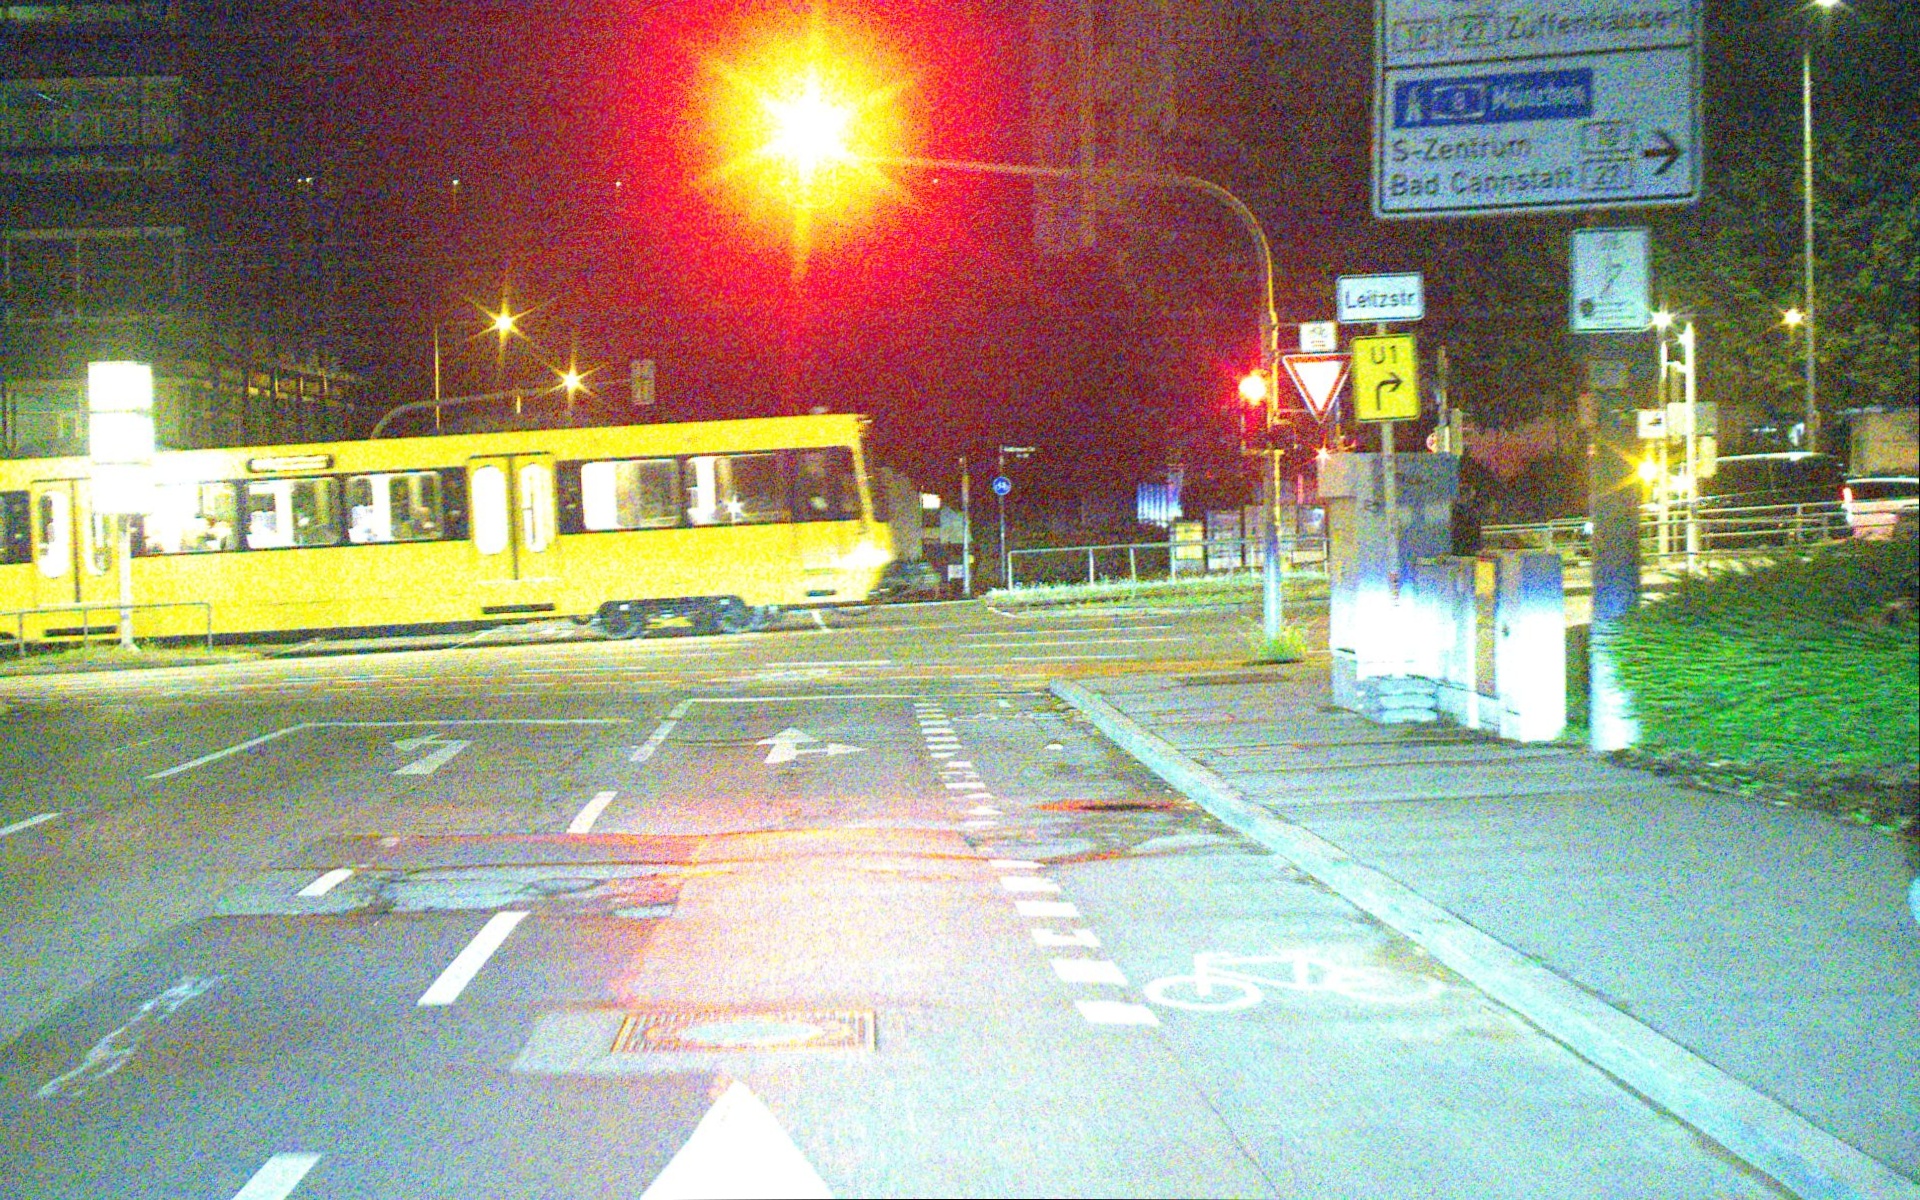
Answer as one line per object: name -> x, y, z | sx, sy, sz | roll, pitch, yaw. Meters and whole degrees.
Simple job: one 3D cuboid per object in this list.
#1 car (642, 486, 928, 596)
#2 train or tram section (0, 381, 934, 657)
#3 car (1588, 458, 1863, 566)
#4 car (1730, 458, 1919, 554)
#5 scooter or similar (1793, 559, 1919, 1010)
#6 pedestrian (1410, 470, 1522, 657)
car -> -8.150, -2.766, 159.621 | 12.381, 4.693, 4.811 | -2, 1, -16
train or tram section -> -10.171, -1.225, 56.787 | 19.176, 3.810, 2.923 | -2, 1, 4
car -> 14.128, -1.631, 63.683 | 4.613, 1.634, 2.000 | -4, 1, 4
car -> 17.338, -1.868, 67.500 | 4.059, 1.610, 1.868 | -4, 1, 7
scooter or similar -> 2.953, 0.522, 10.318 | 0.494, 1.257, 1.320 | -4, 1, -1
pedestrian -> 4.819, -0.347, 32.781 | 0.900, 1.706, 0.775 | -3, 0, 4
